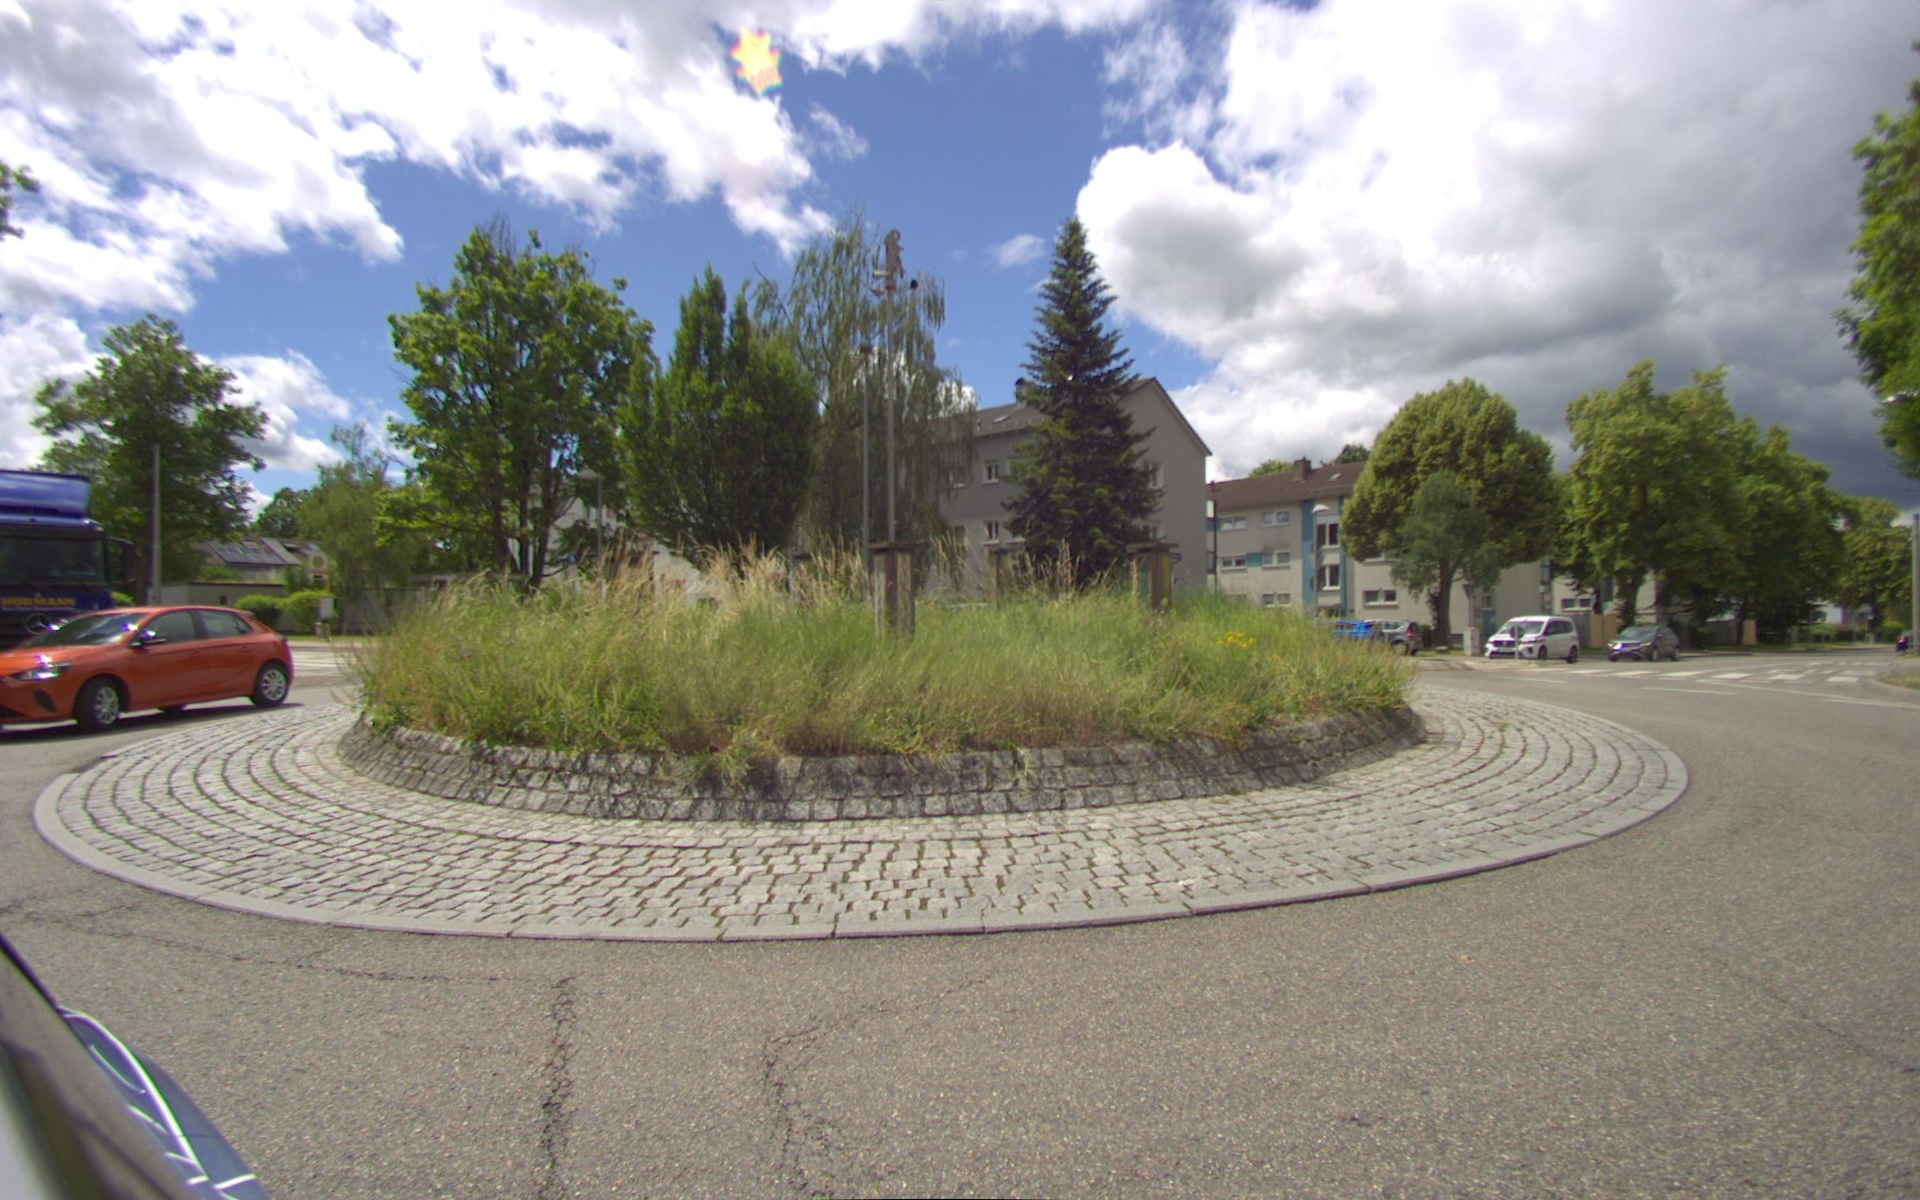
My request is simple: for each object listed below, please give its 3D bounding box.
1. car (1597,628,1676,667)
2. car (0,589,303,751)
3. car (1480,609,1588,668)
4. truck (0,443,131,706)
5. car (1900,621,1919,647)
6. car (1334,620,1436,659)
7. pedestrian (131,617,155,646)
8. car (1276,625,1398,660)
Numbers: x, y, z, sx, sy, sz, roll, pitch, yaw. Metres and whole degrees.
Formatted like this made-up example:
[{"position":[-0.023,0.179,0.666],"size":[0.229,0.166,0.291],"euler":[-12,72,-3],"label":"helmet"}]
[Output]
[{"position":[30.052,2.078,44.944],"size":[3.939,1.620,2.002],"euler":[2,-3,-42],"label":"car"},{"position":[-10.522,0.753,12.503],"size":[1.747,1.569,3.989],"euler":[-3,2,10],"label":"car"},{"position":[21.352,1.433,37.586],"size":[4.373,2.066,2.003],"euler":[1,-4,-40],"label":"car"},{"position":[-18.987,-0.224,19.230],"size":[9.780,4.184,2.755],"euler":[-3,-3,37],"label":"truck"},{"position":[65.564,2.292,68.452],"size":[3.933,1.713,2.005],"euler":[1,-4,-35],"label":"car"},{"position":[19.016,1.727,45.326],"size":[3.741,1.569,2.003],"euler":[1,-1,43],"label":"car"},{"position":[-44.381,1.711,54.996],"size":[0.660,1.593,0.891],"euler":[-1,-2,42],"label":"pedestrian"},{"position":[16.190,1.806,43.570],"size":[4.495,1.253,1.973],"euler":[1,-1,41],"label":"car"}]
